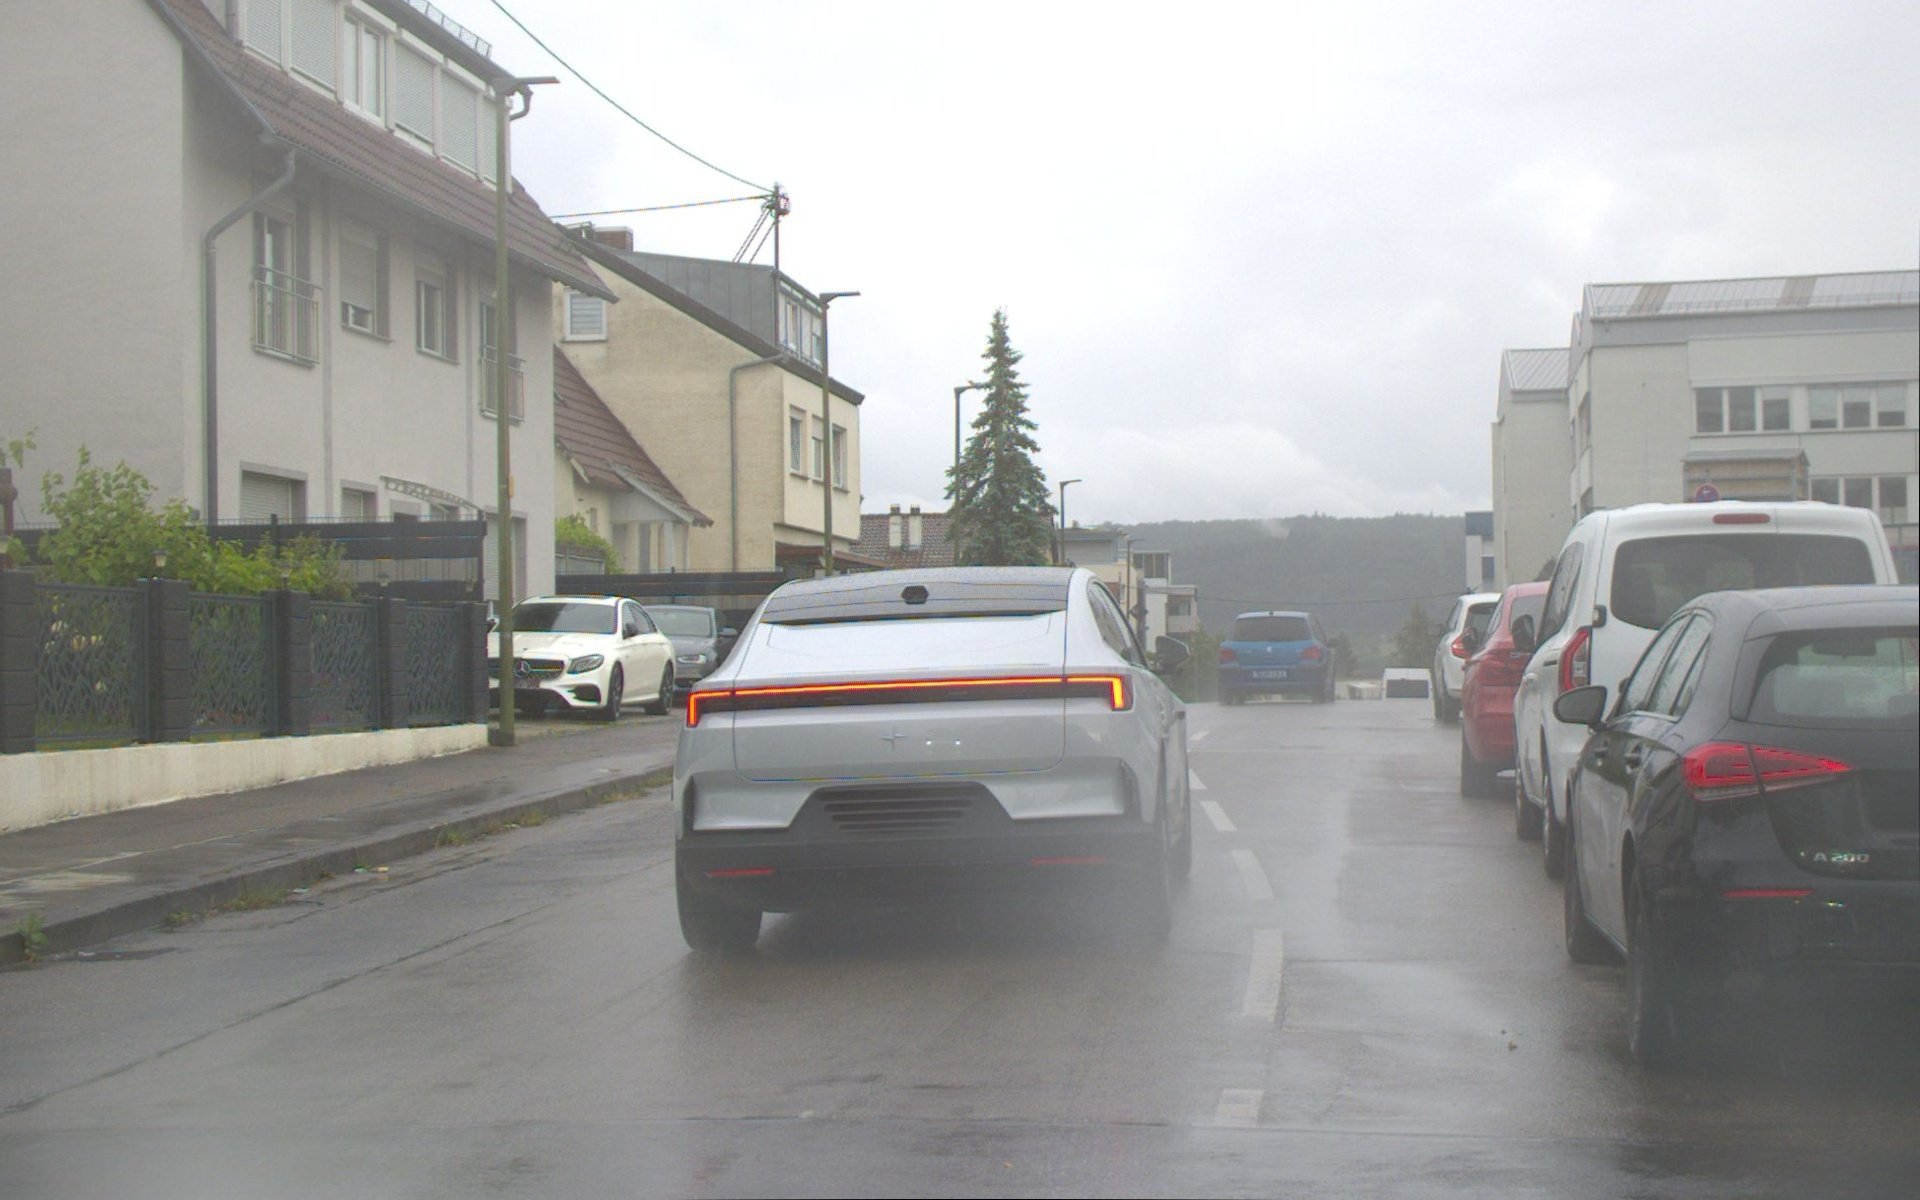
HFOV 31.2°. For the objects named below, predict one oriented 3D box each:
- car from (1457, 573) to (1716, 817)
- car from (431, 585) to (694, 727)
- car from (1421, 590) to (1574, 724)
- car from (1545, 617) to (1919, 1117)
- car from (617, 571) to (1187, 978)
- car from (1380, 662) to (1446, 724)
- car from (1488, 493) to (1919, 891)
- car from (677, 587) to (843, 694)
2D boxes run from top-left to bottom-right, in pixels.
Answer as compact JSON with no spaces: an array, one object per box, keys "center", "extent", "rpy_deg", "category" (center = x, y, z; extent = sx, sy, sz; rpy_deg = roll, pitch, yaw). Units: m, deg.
[{"center":[4.409,0.617,24.671],"extent":[1.643,1.569,4.642],"rpy_deg":[0,0,8],"category":"car"},{"center":[-4.669,0.647,41.199],"extent":[1.994,1.505,4.894],"rpy_deg":[3,0,7],"category":"car"},{"center":[6.545,0.683,42.128],"extent":[1.682,1.552,3.673],"rpy_deg":[0,0,6],"category":"car"},{"center":[2.976,0.737,11.446],"extent":[1.769,1.331,4.319],"rpy_deg":[0,0,6],"category":"car"},{"center":[-0.069,0.646,15.067],"extent":[1.994,1.497,4.669],"rpy_deg":[0,0,5],"category":"car"},{"center":[16.165,3.328,122.811],"extent":[1.994,2.007,3.999],"rpy_deg":[-1,-4,4],"category":"car"},{"center":[3.785,0.423,18.161],"extent":[1.769,1.819,4.573],"rpy_deg":[0,0,6],"category":"car"},{"center":[-2.771,0.547,48.562],"extent":[1.827,1.364,4.569],"rpy_deg":[3,0,3],"category":"car"}]
